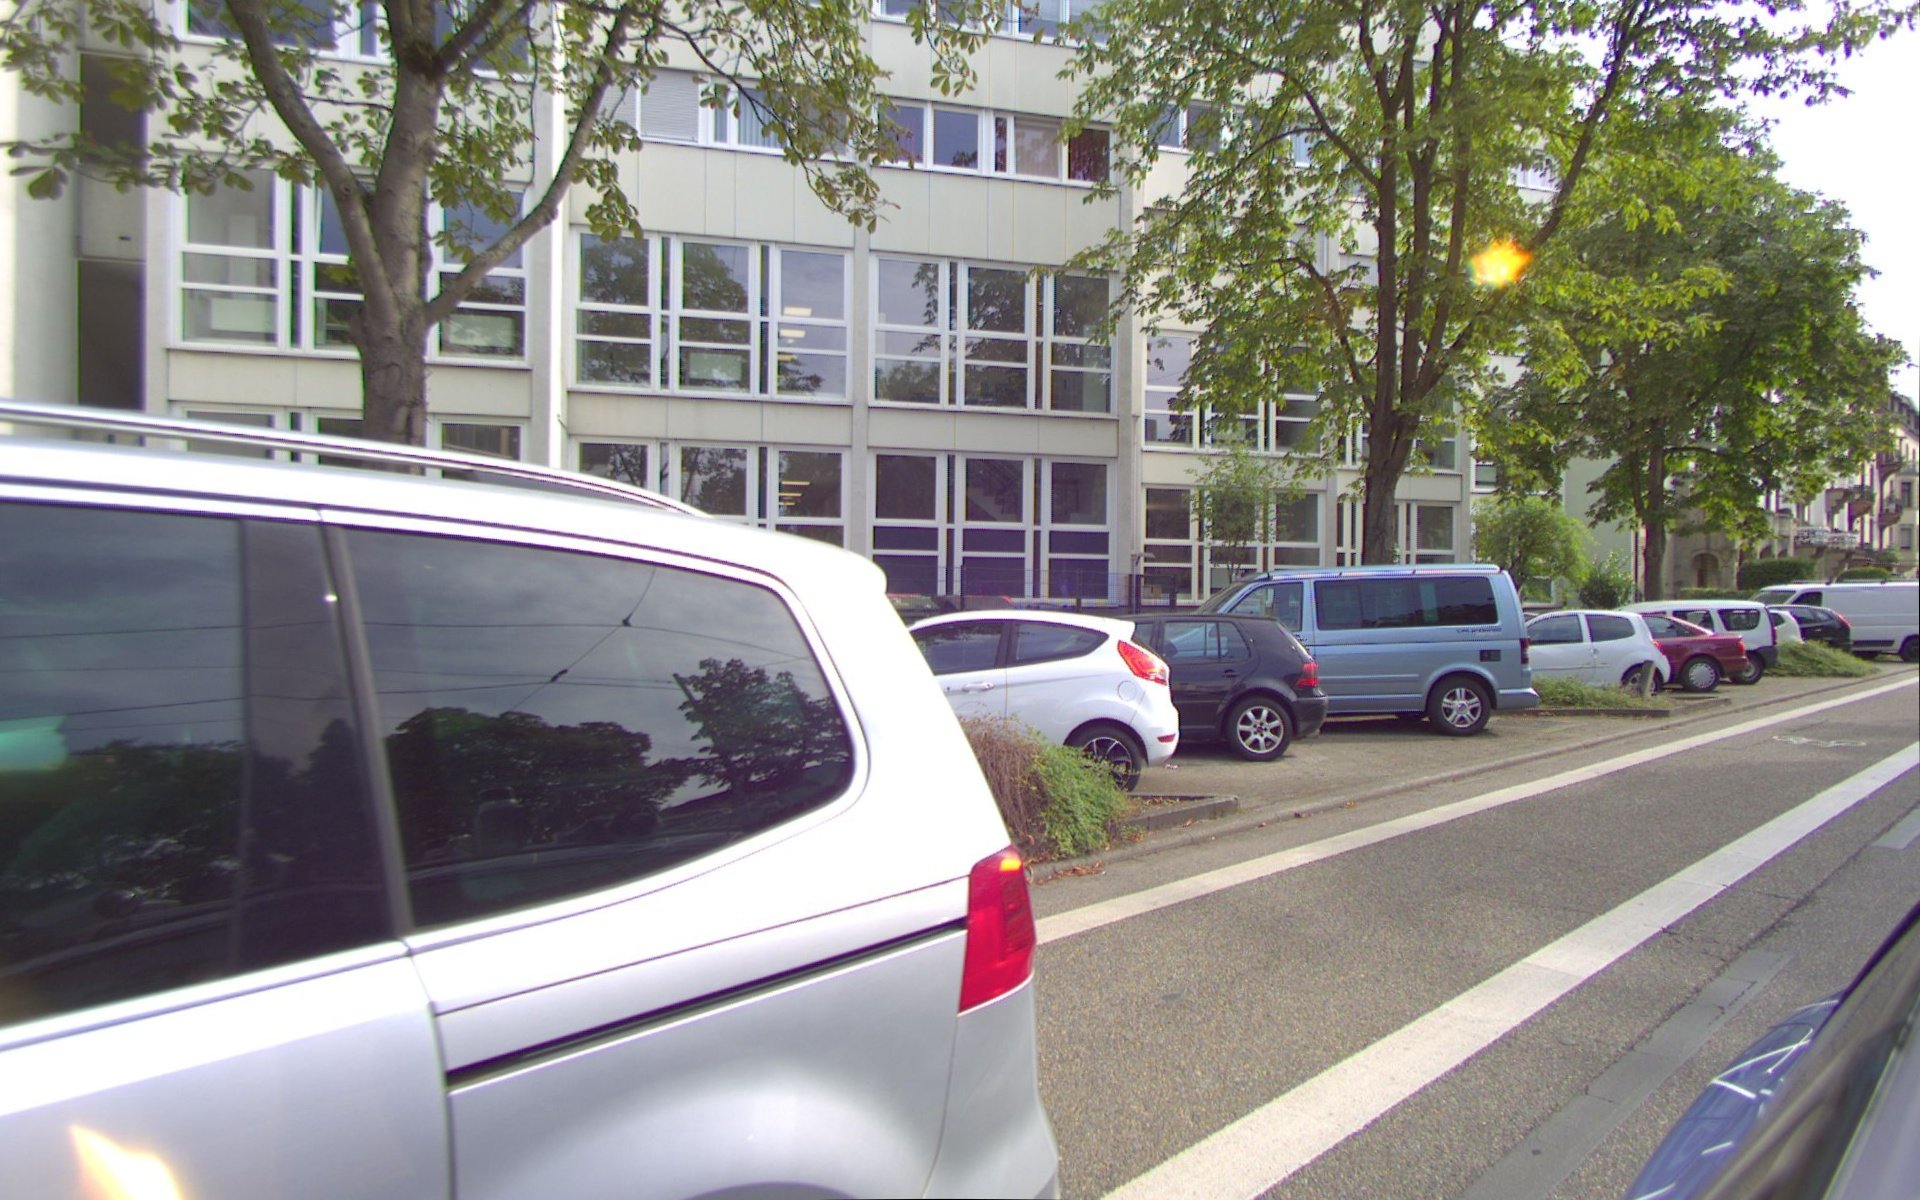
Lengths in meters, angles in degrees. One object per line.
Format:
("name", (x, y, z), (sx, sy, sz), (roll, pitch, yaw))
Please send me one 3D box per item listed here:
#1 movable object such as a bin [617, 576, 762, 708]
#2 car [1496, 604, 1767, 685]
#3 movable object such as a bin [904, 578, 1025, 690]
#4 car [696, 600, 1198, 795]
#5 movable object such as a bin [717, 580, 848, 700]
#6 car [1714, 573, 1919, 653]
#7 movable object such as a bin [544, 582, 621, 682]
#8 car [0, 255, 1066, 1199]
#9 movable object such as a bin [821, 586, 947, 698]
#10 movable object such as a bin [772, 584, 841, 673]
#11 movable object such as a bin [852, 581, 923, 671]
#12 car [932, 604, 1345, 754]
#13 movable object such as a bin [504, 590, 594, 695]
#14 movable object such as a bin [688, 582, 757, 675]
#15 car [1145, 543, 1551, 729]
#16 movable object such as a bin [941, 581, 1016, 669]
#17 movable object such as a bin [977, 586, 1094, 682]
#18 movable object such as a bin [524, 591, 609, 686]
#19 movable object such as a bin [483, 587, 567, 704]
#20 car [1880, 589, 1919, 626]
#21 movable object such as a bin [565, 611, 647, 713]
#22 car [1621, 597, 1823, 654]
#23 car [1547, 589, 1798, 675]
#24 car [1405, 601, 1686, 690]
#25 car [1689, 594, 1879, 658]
("movable object such as a bin", (-3.426, 0.485, 12.785), (1.389, 1.549, 1.330), (0, 0, -36))
("car", (12.183, 0.767, 18.615), (3.708, 1.355, 1.810), (0, 1, 9))
("movable object such as a bin", (0.065, 0.489, 15.521), (1.328, 1.616, 1.335), (0, 0, -36))
("car", (-0.079, 0.721, 8.434), (3.793, 1.410, 1.632), (0, 0, 5))
("movable object such as a bin", (-2.428, 0.507, 13.805), (1.312, 1.523, 1.335), (0, 0, -36))
("car", (25.302, 0.340, 29.126), (5.350, 2.203, 2.143), (0, 0, 9))
("movable object such as a bin", (-6.286, 0.507, 16.909), (1.155, 1.588, 1.177), (0, 0, -18))
("car", (-2.148, 0.578, 0.851), (4.535, 1.722, 1.816), (0, 0, -40))
("movable object such as a bin", (-1.114, 0.561, 14.674), (1.328, 1.521, 1.335), (0, 0, -36))
("movable object such as a bin", (-2.762, 0.488, 18.123), (1.150, 1.533, 1.182), (0, 0, -11))
("movable object such as a bin", (-1.341, 0.460, 18.509), (1.150, 1.588, 1.182), (0, 0, -11))
("car", (1.743, 0.760, 10.598), (3.902, 1.405, 1.812), (0, -1, 5))
("movable object such as a bin", (-5.754, 0.572, 14.244), (1.095, 1.409, 1.065), (0, 0, -18))
("movable object such as a bin", (-4.196, 0.485, 17.990), (1.150, 1.588, 1.182), (0, 0, -11))
("car", (4.564, 0.387, 12.515), (4.269, 2.090, 1.997), (0, 0, 5))
("movable object such as a bin", (0.330, 0.445, 18.800), (1.150, 1.588, 1.182), (0, 0, -11))
("movable object such as a bin", (1.221, 0.512, 16.518), (1.374, 1.477, 1.335), (0, 0, -36))
("movable object such as a bin", (-6.023, 0.566, 15.557), (1.155, 1.387, 1.177), (0, 0, -18))
("movable object such as a bin", (-5.527, 0.551, 12.928), (0.893, 1.425, 1.026), (0, 0, -18))
("car", (46.237, 0.348, 47.876), (3.606, 1.697, 1.753), (0, 1, 25))
("movable object such as a bin", (-4.129, 0.701, 11.804), (0.729, 1.119, 0.786), (0, 0, -34))
("car", (18.729, 0.606, 25.006), (3.580, 1.347, 1.765), (0, 1, 5))
("car", (14.315, 0.592, 20.538), (3.708, 1.638, 1.810), (0, 0, 9))
("car", (9.533, 0.710, 16.731), (3.580, 1.347, 1.765), (0, 1, 5))
("car", (22.091, 0.659, 27.317), (3.606, 1.609, 1.753), (0, 1, 25))
